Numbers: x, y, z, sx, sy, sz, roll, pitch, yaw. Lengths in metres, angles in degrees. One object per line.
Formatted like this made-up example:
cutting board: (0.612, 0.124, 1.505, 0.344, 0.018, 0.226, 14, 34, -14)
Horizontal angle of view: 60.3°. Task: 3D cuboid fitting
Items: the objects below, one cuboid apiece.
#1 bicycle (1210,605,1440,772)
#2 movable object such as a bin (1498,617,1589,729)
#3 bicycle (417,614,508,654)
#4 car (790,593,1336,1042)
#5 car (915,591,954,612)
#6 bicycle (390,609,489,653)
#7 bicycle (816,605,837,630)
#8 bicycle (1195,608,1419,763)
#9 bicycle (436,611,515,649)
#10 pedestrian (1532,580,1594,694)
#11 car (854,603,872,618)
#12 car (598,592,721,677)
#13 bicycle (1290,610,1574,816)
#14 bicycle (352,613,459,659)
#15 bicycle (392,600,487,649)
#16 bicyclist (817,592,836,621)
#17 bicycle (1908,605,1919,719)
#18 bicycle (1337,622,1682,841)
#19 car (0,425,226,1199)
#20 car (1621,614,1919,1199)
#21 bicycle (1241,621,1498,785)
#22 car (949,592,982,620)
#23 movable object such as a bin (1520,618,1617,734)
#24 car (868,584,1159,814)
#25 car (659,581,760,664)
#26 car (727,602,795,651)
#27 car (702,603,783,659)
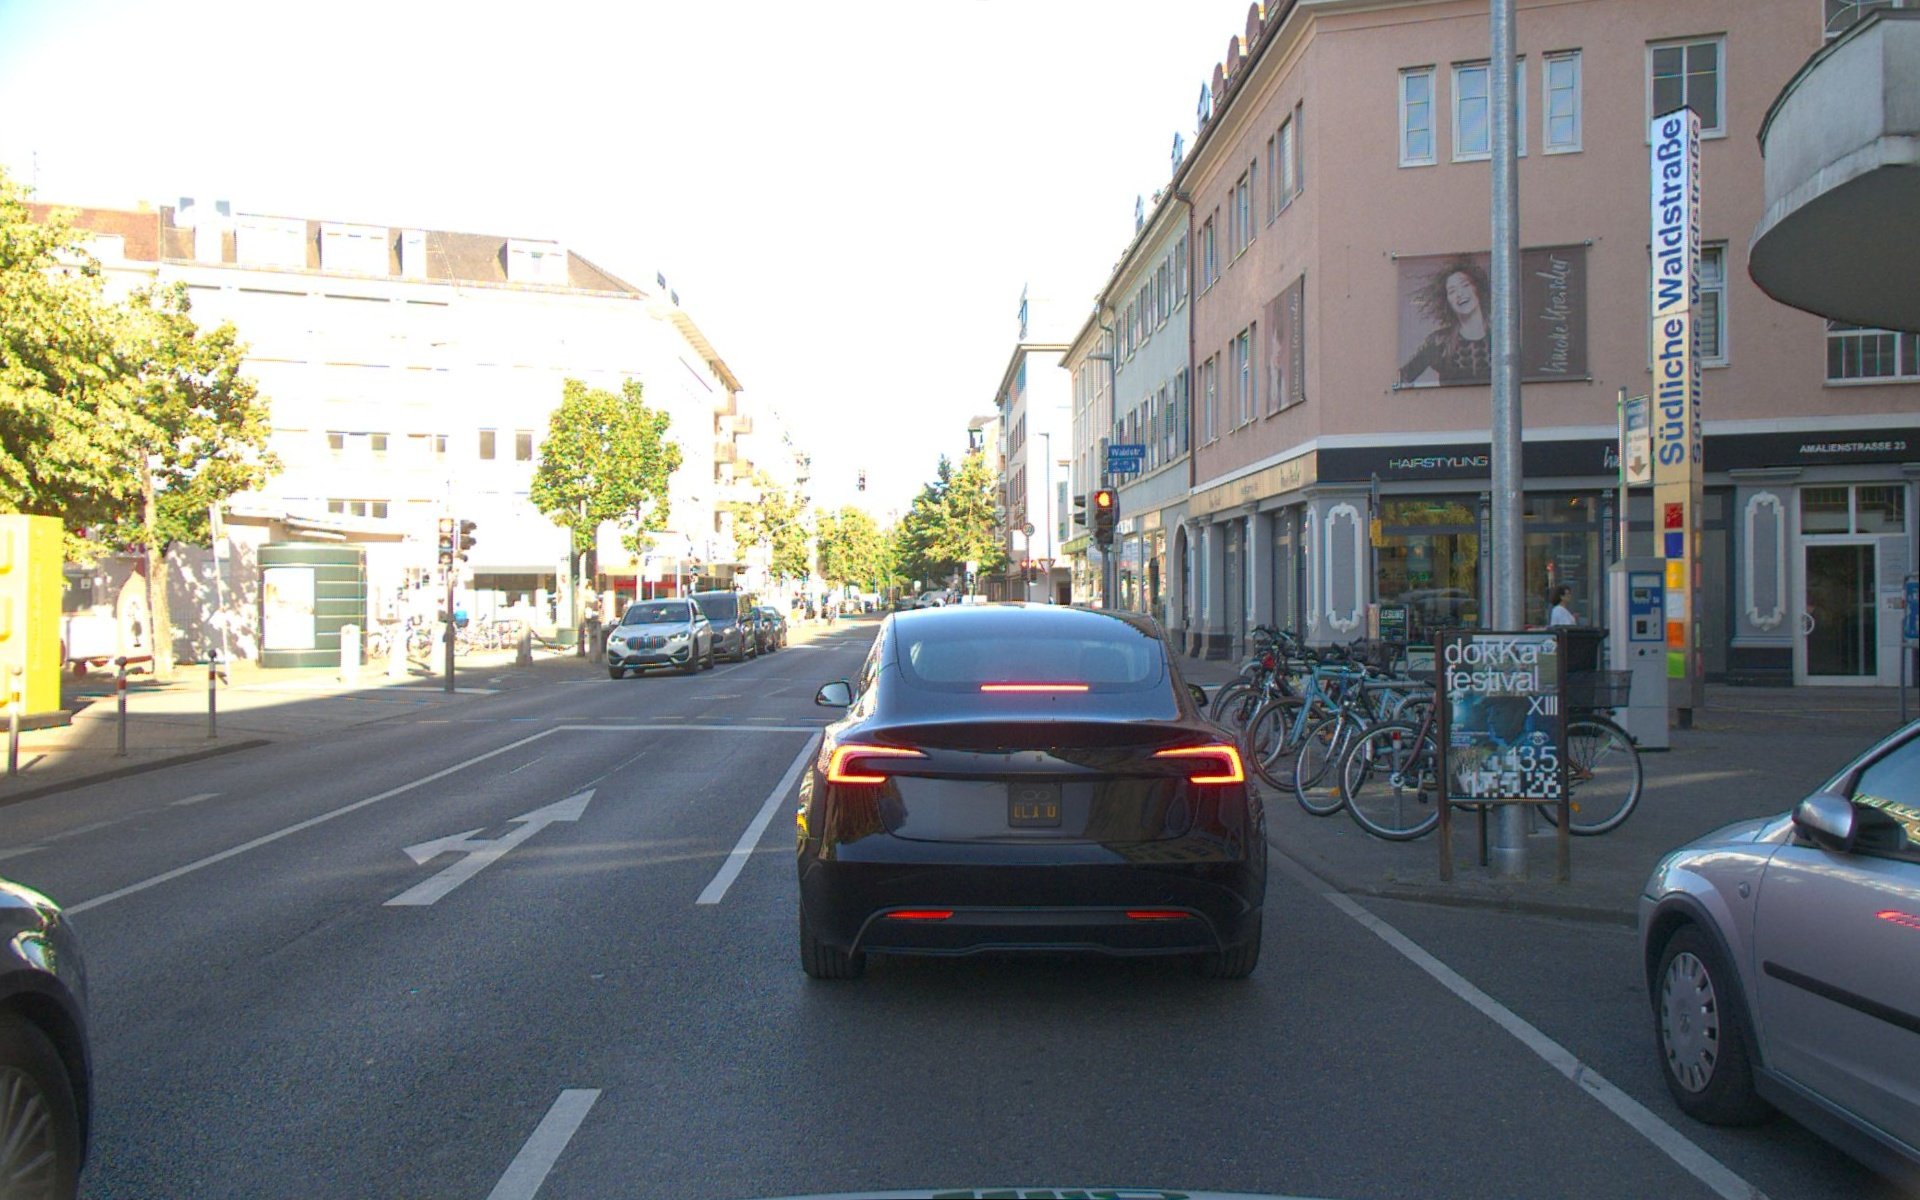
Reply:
bicycle: (2.989, 0.715, 13.676, 1.709, 1.289, 0.781, -2, 0, 2)
movable object such as a bin: (6.025, 0.744, 17.092, 0.718, 1.111, 0.627, 1, 0, 1)
bicycle: (-14.888, 1.007, 49.556, 2.485, 1.176, 0.841, 0, 0, -6)
car: (0.316, 0.724, 7.487, 1.810, 1.480, 3.999, 0, 0, -1)
car: (-2.566, 0.147, 167.506, 3.907, 2.049, 1.999, 0, 0, -2)
bicycle: (-14.102, 0.835, 44.878, 2.412, 1.176, 0.842, 0, 0, -2)
bicycle: (-7.696, 0.990, 95.391, 1.089, 1.368, 3.997, 0, 0, -4)
bicycle: (3.054, 0.742, 14.707, 1.822, 1.280, 0.833, -2, 0, 5)
bicycle: (-15.211, 0.934, 51.979, 2.279, 1.176, 0.841, 0, 0, -6)
pedestrian: (8.509, 0.509, 23.330, 0.732, 1.579, 0.698, 0, 0, 28)
car: (-10.980, 1.199, 186.883, 1.954, 1.666, 3.997, 0, 0, -4)
car: (-6.360, 0.685, 35.411, 1.770, 1.582, 4.309, -4, 0, 0)
bicycle: (3.141, 0.743, 11.147, 1.686, 1.290, 0.791, -2, 0, 5)
bicycle: (-14.188, 0.916, 42.345, 2.455, 1.176, 0.842, 0, 0, -2)
bicycle: (-14.710, 0.690, 46.801, 2.429, 1.347, 0.921, 0, 0, -6)
bicyclist: (-7.712, 0.363, 95.485, 1.104, 1.657, 0.964, 0, 0, -4)
bicycle: (10.361, 0.662, 16.965, 0.645, 1.220, 2.212, 0, 0, 18)
bicycle: (3.287, 0.778, 10.018, 1.846, 1.214, 0.692, -2, 1, 5)
car: (-2.679, 0.597, 1.596, 1.953, 1.803, 4.726, -1, 0, -2)
car: (2.932, 0.772, 3.507, 1.580, 1.406, 3.642, 1, 0, 0)
bicycle: (3.058, 0.765, 12.498, 1.760, 1.144, 0.782, -2, 0, 5)
car: (0.331, 0.337, 100.798, 1.953, 1.657, 3.999, 0, 0, -1)
movable object such as a bin: (6.046, 0.742, 16.455, 0.737, 1.111, 0.627, 1, 0, 1)
car: (0.289, 0.661, 13.196, 1.953, 1.538, 4.173, 0, 0, -2)
car: (-6.366, 0.530, 42.492, 1.797, 1.877, 4.674, -4, 0, 0)
car: (-6.802, 0.864, 56.900, 1.954, 1.461, 4.671, -4, 0, -3)
car: (-6.420, 0.877, 49.314, 1.954, 1.434, 4.671, -4, 0, -3)
